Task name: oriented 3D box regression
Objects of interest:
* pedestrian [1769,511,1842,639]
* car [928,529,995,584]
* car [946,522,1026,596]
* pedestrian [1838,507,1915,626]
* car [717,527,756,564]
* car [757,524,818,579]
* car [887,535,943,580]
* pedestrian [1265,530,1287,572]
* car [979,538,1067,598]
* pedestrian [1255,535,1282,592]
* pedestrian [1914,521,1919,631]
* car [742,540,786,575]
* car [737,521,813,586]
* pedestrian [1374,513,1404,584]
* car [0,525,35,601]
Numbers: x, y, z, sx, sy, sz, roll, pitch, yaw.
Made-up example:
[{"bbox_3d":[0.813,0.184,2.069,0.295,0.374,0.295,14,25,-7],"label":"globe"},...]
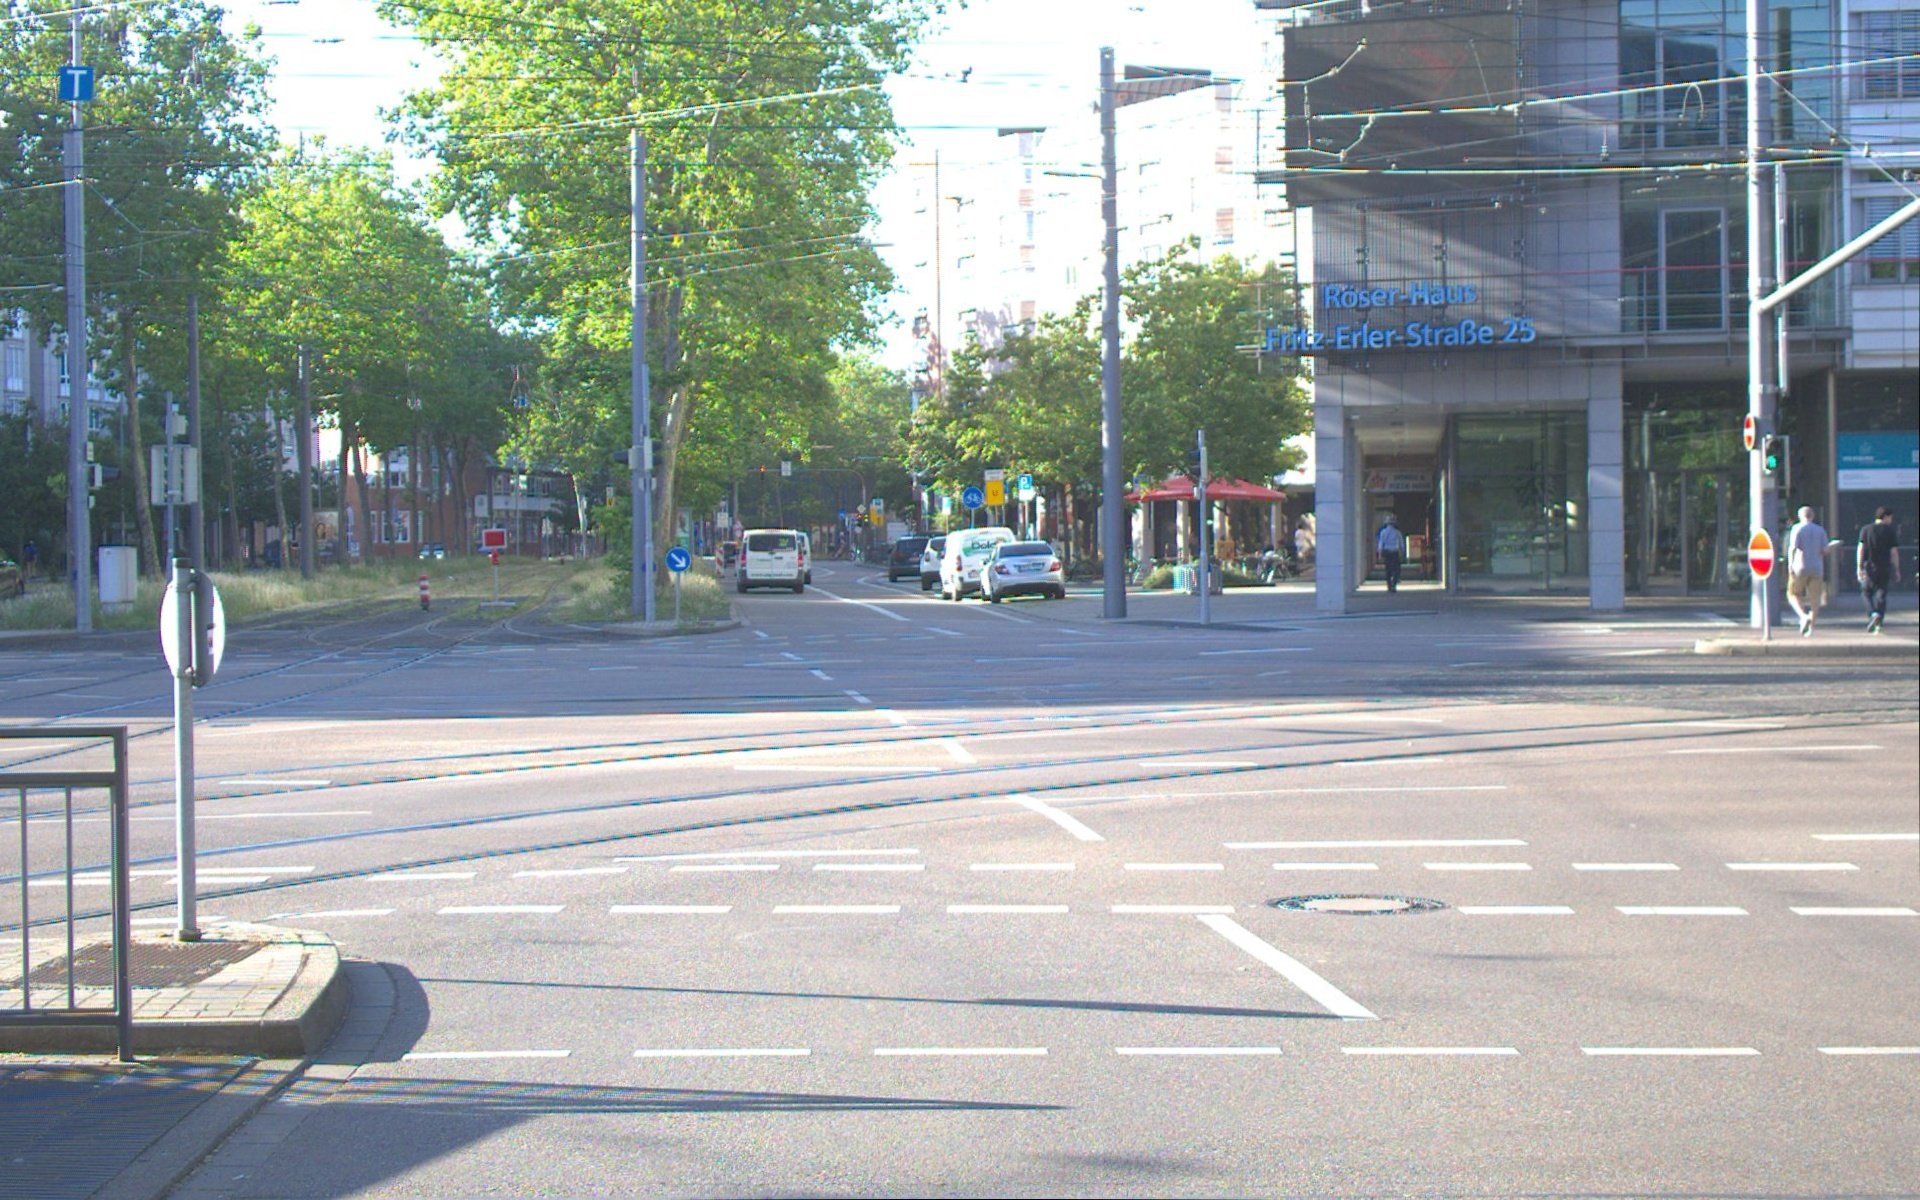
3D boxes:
[{"bbox_3d":[11.885,-0.358,48.350,0.864,1.782,0.871,-1,1,6],"label":"pedestrian"},{"bbox_3d":[0.035,-1.351,105.211,1.993,1.612,4.000,-1,1,0],"label":"car"},{"bbox_3d":[0.647,-1.088,89.565,1.993,1.853,4.000,-1,1,-1],"label":"car"},{"bbox_3d":[13.138,-0.488,49.308,0.912,1.679,1.035,-1,1,7],"label":"pedestrian"},{"bbox_3d":[-12.524,-3.061,192.883,1.993,2.007,4.000,-1,1,-1],"label":"car"},{"bbox_3d":[-6.118,-1.748,122.478,1.993,1.905,4.000,-1,1,-1],"label":"car"},{"bbox_3d":[-1.643,-1.588,126.661,1.993,1.612,4.000,-1,1,0],"label":"car"},{"bbox_3d":[9.736,-1.501,106.054,0.577,1.284,0.910,-1,1,-1],"label":"pedestrian"},{"bbox_3d":[1.491,-0.780,82.770,1.993,1.371,4.000,-1,1,-1],"label":"car"},{"bbox_3d":[9.410,-1.114,104.801,0.744,1.708,0.612,-1,1,-1],"label":"pedestrian"},{"bbox_3d":[14.073,-0.342,48.664,0.948,1.558,0.897,-1,1,6],"label":"pedestrian"},{"bbox_3d":[-8.389,-1.827,147.309,1.797,1.437,4.000,1,1,-2],"label":"car"},{"bbox_3d":[-5.424,-1.380,101.342,1.961,1.842,5.330,-1,1,0],"label":"car"},{"bbox_3d":[9.173,-1.104,73.501,0.612,1.502,0.579,-1,1,10],"label":"pedestrian"},{"bbox_3d":[-21.667,-0.793,74.919,1.993,1.634,4.000,-1,1,-1],"label":"car"}]
